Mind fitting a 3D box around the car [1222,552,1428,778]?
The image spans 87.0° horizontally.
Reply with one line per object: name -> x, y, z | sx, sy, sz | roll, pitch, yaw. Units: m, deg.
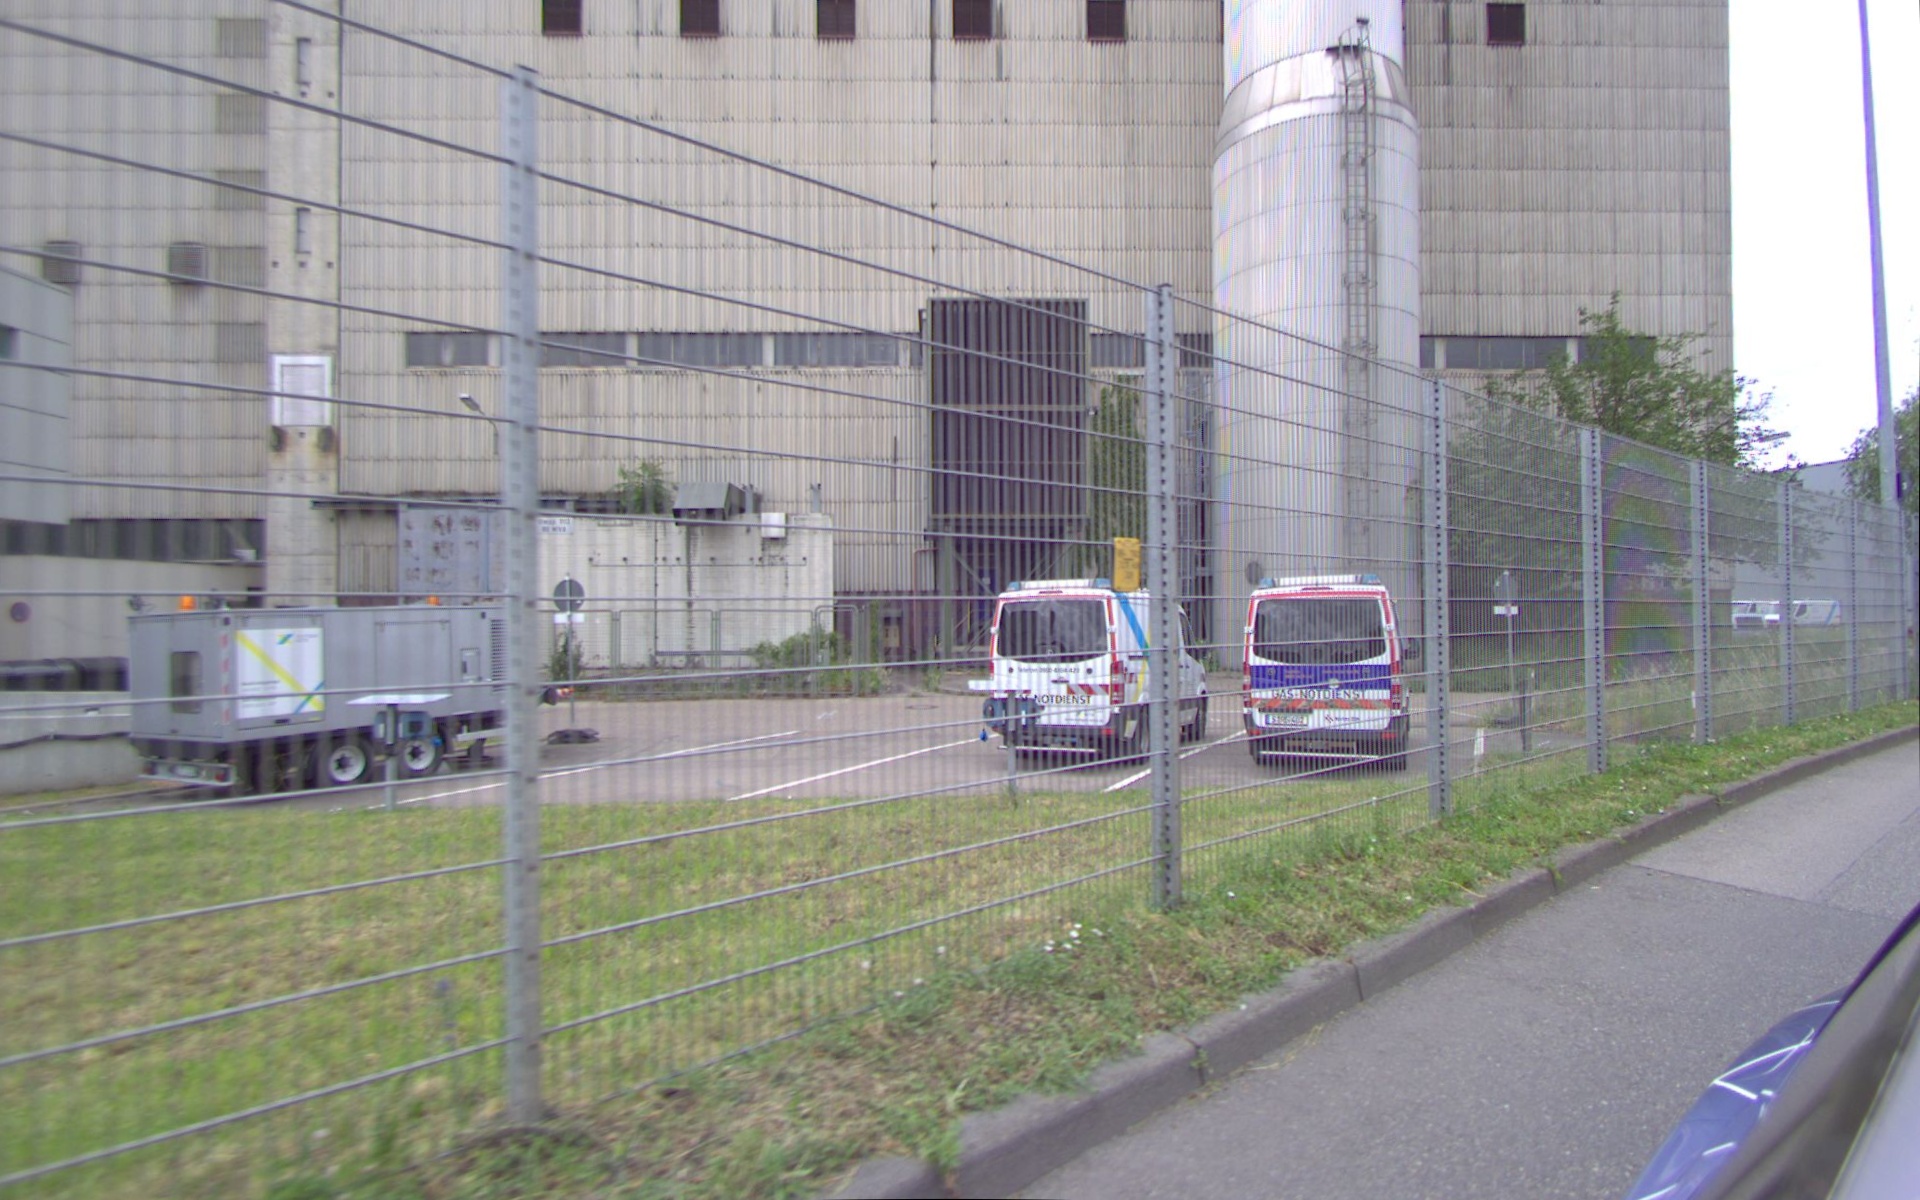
car -> 5.369, 0.870, 14.396 | 2.216, 2.581, 5.143 | -1, -3, 26

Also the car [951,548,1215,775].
car -> 2.119, 0.898, 15.490 | 2.403, 2.799, 5.403 | -2, -3, 26

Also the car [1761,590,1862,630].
car -> 53.081, 0.642, 63.106 | 5.716, 2.398, 2.004 | 0, -2, -18

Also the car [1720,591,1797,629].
car -> 52.346, 0.655, 66.298 | 5.723, 2.398, 2.001 | 0, -2, -31

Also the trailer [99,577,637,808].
trailer -> -8.079, 1.089, 14.782 | 2.641, 2.576, 6.366 | -2, -1, 29
